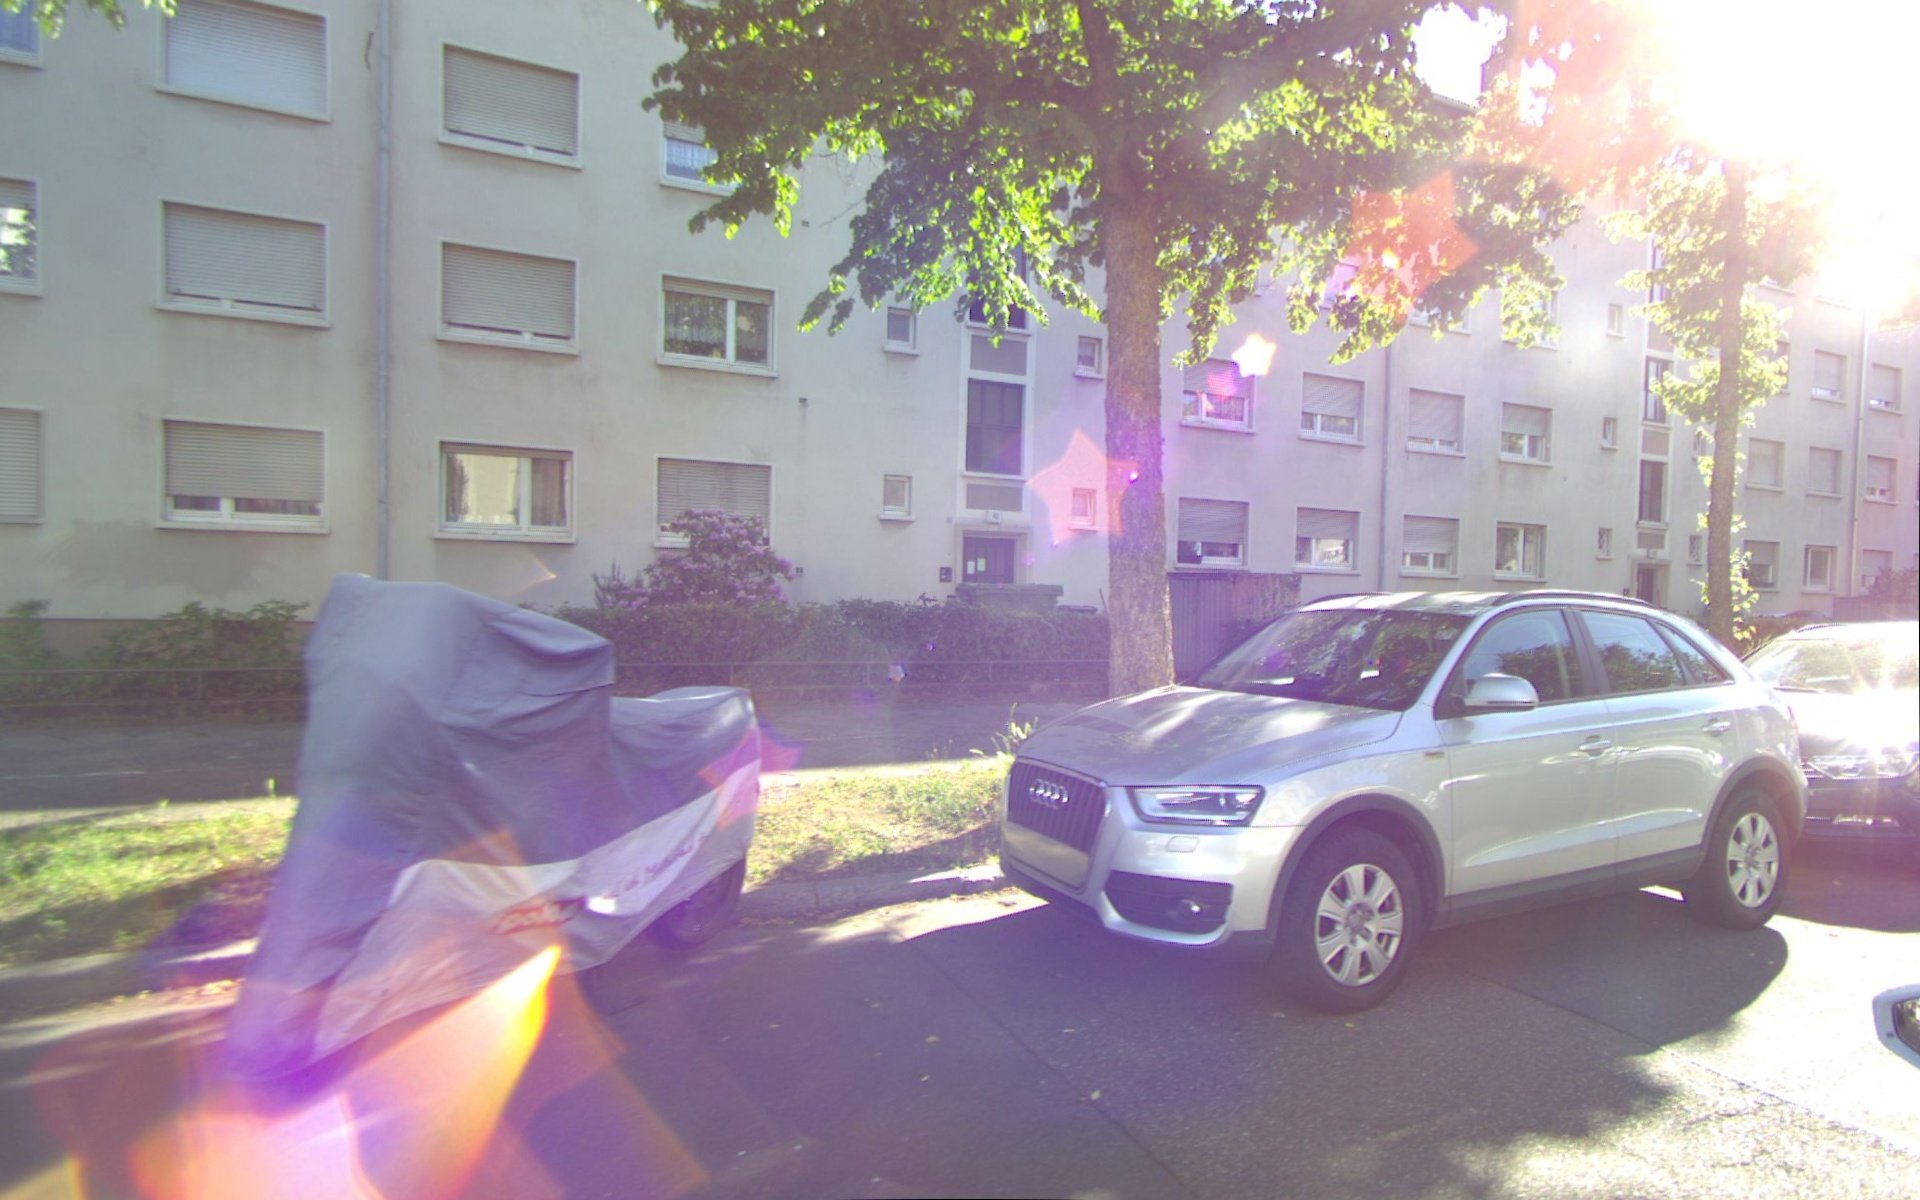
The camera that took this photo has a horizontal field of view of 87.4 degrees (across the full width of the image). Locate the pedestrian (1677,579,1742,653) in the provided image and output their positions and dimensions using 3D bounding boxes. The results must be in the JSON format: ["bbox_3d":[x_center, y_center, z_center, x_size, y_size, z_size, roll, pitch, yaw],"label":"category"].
[{"bbox_3d":[19.841,0.404,26.604,1.009,1.913,0.933,1,1,-15],"label":"pedestrian"}]

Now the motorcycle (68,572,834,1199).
[{"bbox_3d":[-1.463,0.700,3.479,0.971,1.524,2.231,1,0,25],"label":"motorcycle"}]

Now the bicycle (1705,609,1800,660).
[{"bbox_3d":[19.666,0.852,24.948,1.916,1.169,0.514,2,2,-2],"label":"bicycle"}]

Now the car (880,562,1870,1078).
[{"bbox_3d":[2.150,0.662,5.008,4.662,1.544,2.055,1,1,-28],"label":"car"}]

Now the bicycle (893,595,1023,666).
[{"bbox_3d":[-0.023,0.480,15.923,1.912,1.055,0.783,1,1,-29],"label":"bicycle"}]

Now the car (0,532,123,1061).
[{"bbox_3d":[-4.823,0.539,1.908,4.541,1.544,2.037,1,1,-24],"label":"car"}]

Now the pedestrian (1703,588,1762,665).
[{"bbox_3d":[19.854,0.667,25.823,0.861,1.939,0.783,1,1,2],"label":"pedestrian"}]

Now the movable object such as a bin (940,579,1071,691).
[{"bbox_3d":[0.577,0.420,12.764,1.363,1.342,0.925,1,1,-30],"label":"movable object such as a bin"}]

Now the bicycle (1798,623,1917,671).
[{"bbox_3d":[20.213,1.040,22.674,0.507,0.929,1.943,1,2,-23],"label":"bicycle"}]

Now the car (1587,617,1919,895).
[{"bbox_3d":[6.798,0.865,7.136,4.756,1.466,1.723,1,-1,-26],"label":"car"}]

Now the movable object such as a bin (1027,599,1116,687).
[{"bbox_3d":[1.467,0.553,13.308,0.745,1.107,0.925,1,1,-30],"label":"movable object such as a bin"}]
